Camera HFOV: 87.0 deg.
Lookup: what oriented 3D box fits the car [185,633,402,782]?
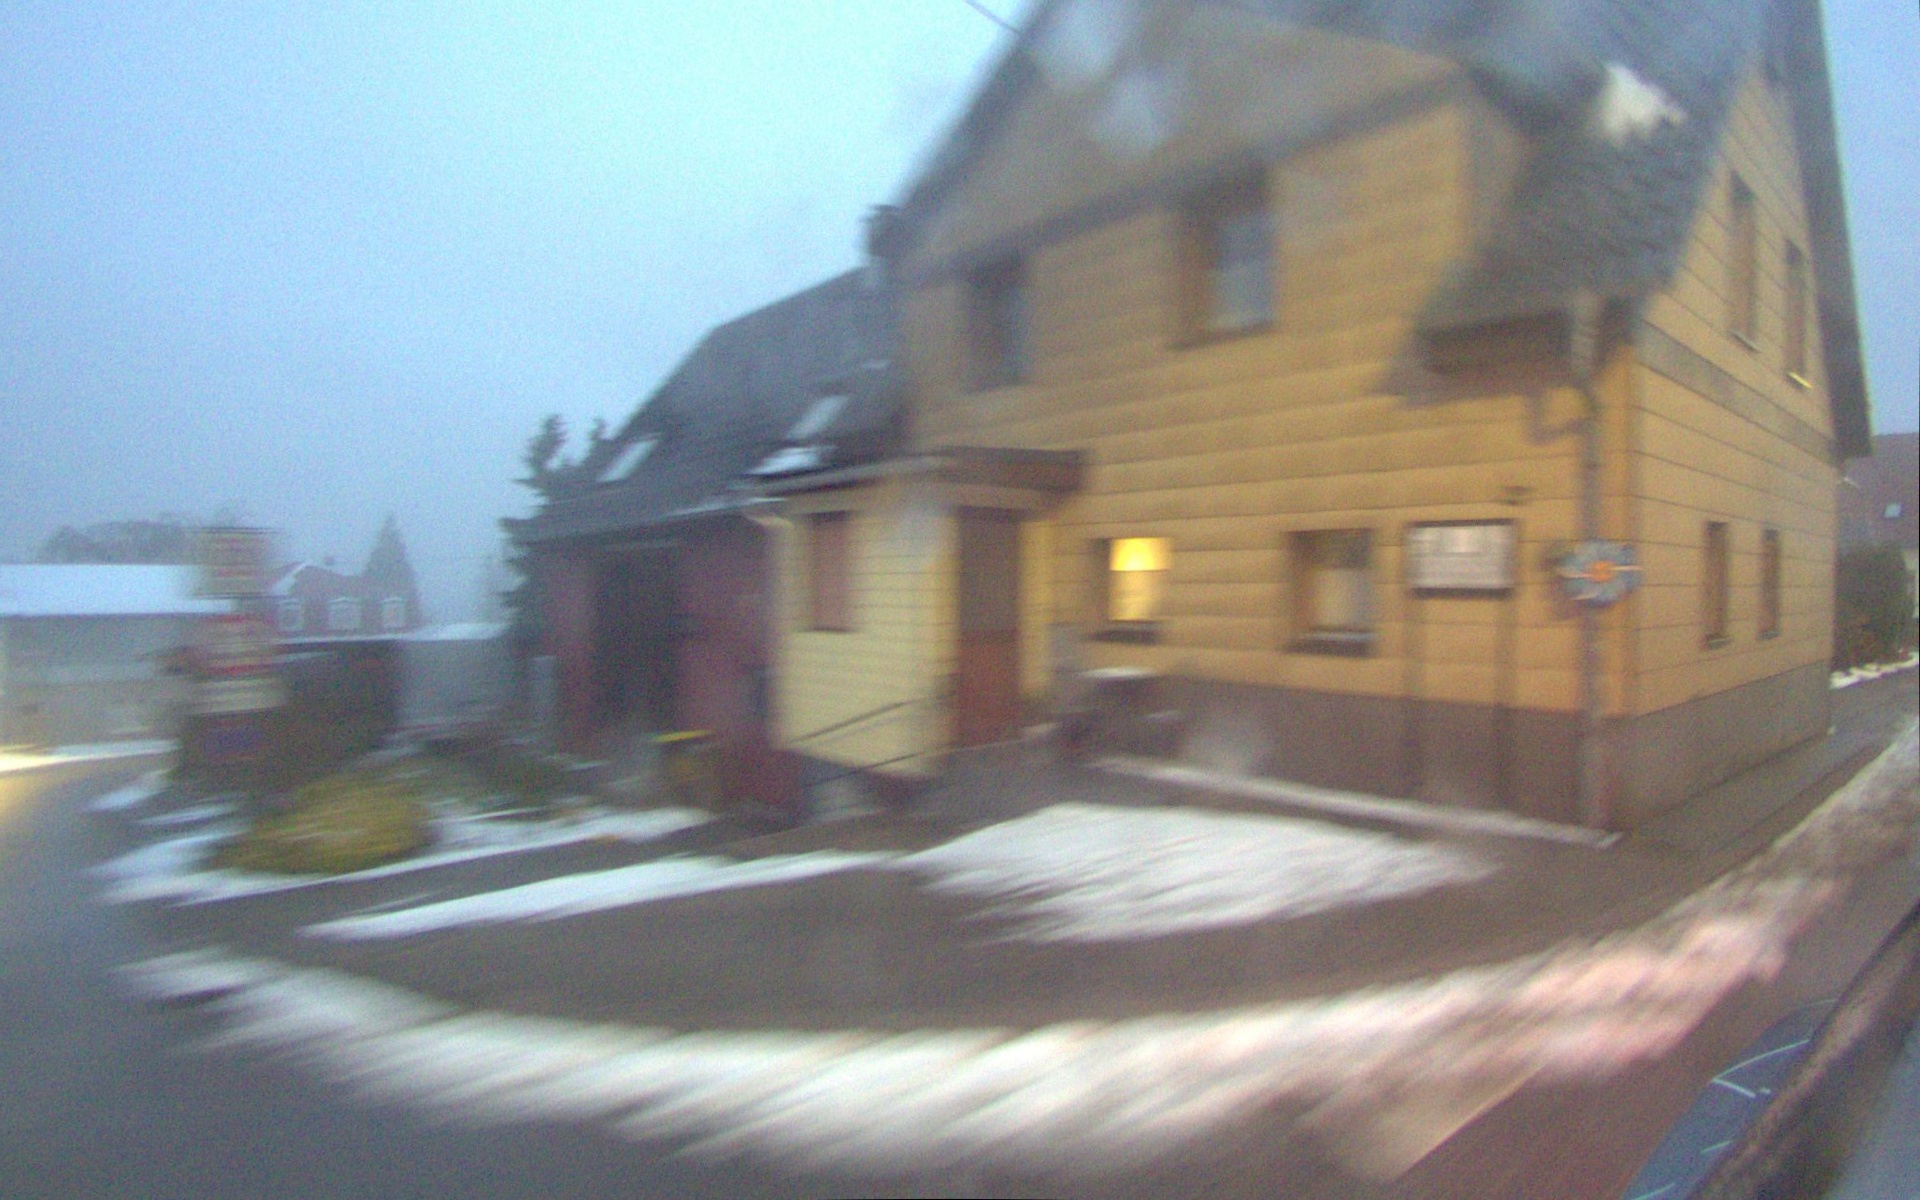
[{"bbox_3d":[-11.515,1.740,17.824,1.669,2.031,4.007,-1,2,-9],"label":"car"}]
